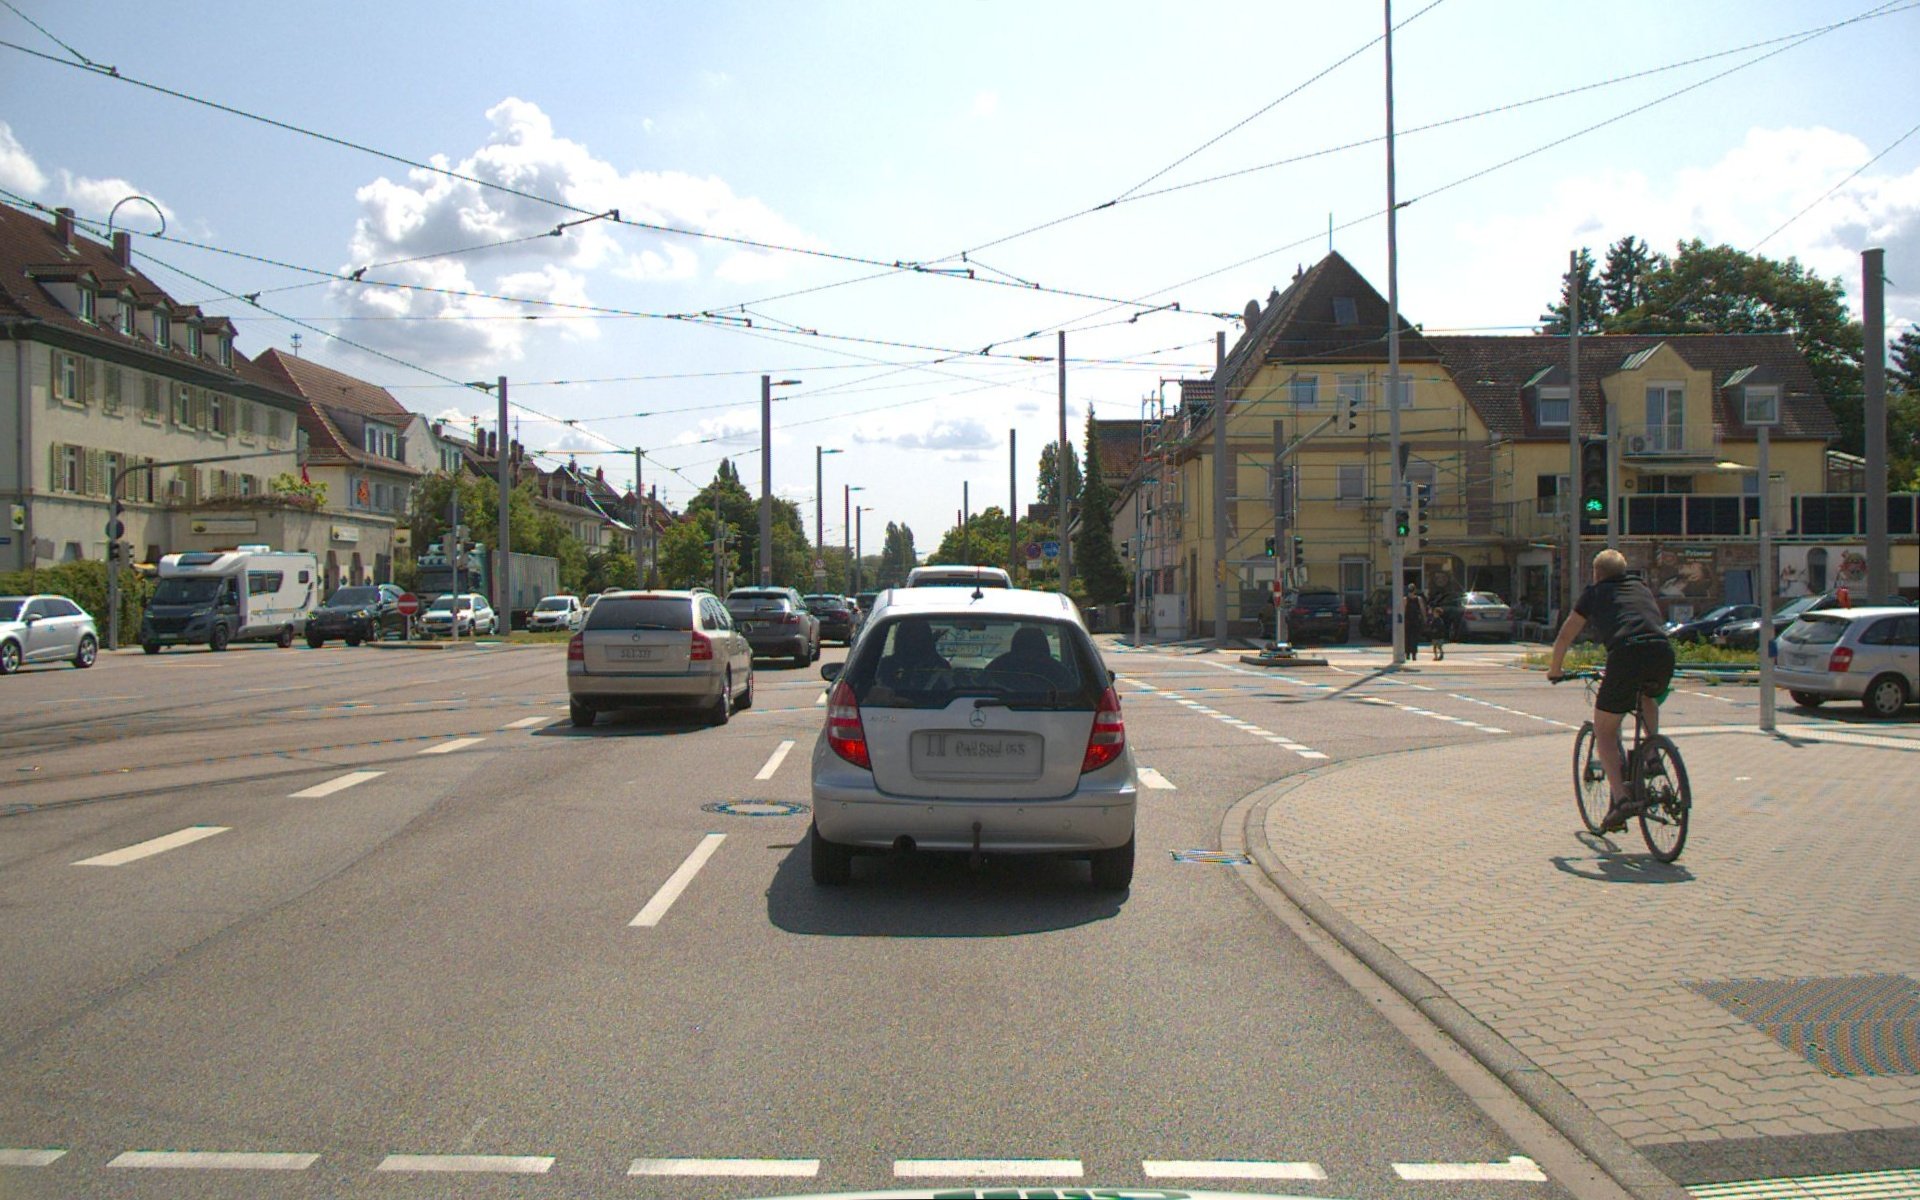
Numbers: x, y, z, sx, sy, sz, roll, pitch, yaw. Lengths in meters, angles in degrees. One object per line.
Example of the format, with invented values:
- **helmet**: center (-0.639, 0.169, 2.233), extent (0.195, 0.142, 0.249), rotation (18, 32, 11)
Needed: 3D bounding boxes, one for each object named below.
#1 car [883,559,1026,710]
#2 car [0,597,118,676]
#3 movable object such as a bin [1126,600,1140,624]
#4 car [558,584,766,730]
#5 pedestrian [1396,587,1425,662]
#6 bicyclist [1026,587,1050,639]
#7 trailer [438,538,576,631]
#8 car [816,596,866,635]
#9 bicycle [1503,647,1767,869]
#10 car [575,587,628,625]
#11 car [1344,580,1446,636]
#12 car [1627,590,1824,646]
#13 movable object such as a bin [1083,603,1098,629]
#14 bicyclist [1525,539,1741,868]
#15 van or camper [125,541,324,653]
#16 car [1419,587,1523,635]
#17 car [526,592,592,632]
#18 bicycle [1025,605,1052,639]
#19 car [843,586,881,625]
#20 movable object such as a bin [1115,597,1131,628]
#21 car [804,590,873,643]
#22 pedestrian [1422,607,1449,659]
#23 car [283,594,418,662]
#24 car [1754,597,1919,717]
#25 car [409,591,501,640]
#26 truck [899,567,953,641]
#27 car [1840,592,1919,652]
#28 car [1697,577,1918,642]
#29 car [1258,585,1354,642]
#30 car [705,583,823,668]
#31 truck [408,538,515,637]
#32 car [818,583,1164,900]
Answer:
- **car**: center (-0.116, 0.435, 22.051), extent (1.695, 1.793, 4.015), rotation (1, 0, -2)
- **car**: center (-17.792, 0.635, 30.937), extent (1.953, 1.375, 4.177), rotation (1, 0, -1)
- **movable object such as a bin**: center (6.950, 0.474, 66.500), extent (0.458, 0.963, 0.558), rotation (-1, -1, -1)
- **car**: center (-3.320, 0.571, 19.157), extent (1.696, 1.474, 4.122), rotation (1, 1, -1)
- **pedestrian**: center (10.150, 0.547, 37.242), extent (0.535, 1.672, 0.401), rotation (1, -1, 4)
- **bicyclist**: center (2.682, 0.440, 56.737), extent (0.638, 1.768, 0.982), rotation (1, -1, -8)
- **trailer**: center (-20.936, -0.762, 77.396), extent (2.545, 3.887, 12.839), rotation (-3, 1, 1)
- **car**: center (-4.594, 0.591, 64.262), extent (1.815, 1.413, 3.916), rotation (1, 0, -3)
- **bicycle**: center (3.975, 0.882, 9.936), extent (0.811, 1.094, 1.972), rotation (-2, 1, 2)
- **car**: center (-18.327, 0.327, 84.716), extent (1.758, 1.847, 4.711), rotation (-1, 0, -1)
- **car**: center (13.234, 0.254, 50.541), extent (1.953, 1.624, 4.130), rotation (1, 0, -1)
- **car**: center (19.428, 0.455, 42.056), extent (4.230, 1.331, 1.738), rotation (1, -1, -4)
- **movable object such as a bin**: center (4.781, 0.578, 60.574), extent (0.501, 0.934, 0.741), rotation (0, -1, -1)
- **bicyclist**: center (3.965, 0.575, 9.830), extent (0.811, 1.825, 1.084), rotation (-2, 0, 1)
- **van or camper**: center (-21.184, -0.101, 48.149), extent (2.276, 2.981, 7.754), rotation (0, 0, 0)
- **car**: center (15.547, 0.327, 50.538), extent (1.829, 1.375, 4.130), rotation (1, 0, -1)
- **car**: center (-17.986, 0.538, 74.355), extent (1.757, 1.665, 4.471), rotation (-1, 0, 1)
- **bicycle**: center (2.682, 0.746, 56.713), extent (0.638, 1.137, 1.585), rotation (1, -1, -8)
- **car**: center (-4.842, 0.282, 82.457), extent (1.815, 1.875, 3.916), rotation (1, 0, -3)
- **movable object such as a bin**: center (5.965, 0.455, 60.707), extent (0.501, 1.124, 0.855), rotation (0, -1, -1)
- **car**: center (-3.424, 0.455, 47.227), extent (1.815, 1.413, 4.511), rotation (1, 0, -3)
- **pedestrian**: center (10.714, 0.742, 37.279), extent (0.478, 1.156, 0.389), rotation (1, -1, -1)
- **car**: center (-17.578, 0.764, 47.991), extent (1.952, 1.807, 4.879), rotation (-2, 0, 1)
- **car**: center (13.229, 0.736, 22.675), extent (3.928, 1.427, 1.733), rotation (-1, 3, -8)
- **car**: center (-18.002, 0.552, 59.158), extent (1.953, 1.579, 4.177), rotation (-4, 0, -1)
- **truck**: center (-1.303, 0.157, 61.810), extent (1.815, 2.597, 5.851), rotation (1, 0, -3)
- **car**: center (25.172, 0.596, 42.534), extent (4.230, 1.499, 1.738), rotation (1, -1, -4)
- **car**: center (19.442, 0.209, 38.023), extent (4.230, 1.352, 1.738), rotation (-1, 0, -4)
- **car**: center (10.386, 0.415, 49.937), extent (1.953, 1.624, 4.130), rotation (1, 0, -1)
- **car**: center (-3.739, 0.468, 32.264), extent (1.878, 1.503, 4.560), rotation (1, 0, -2)
- **truck**: center (-21.064, -0.547, 70.205), extent (2.545, 3.887, 5.669), rotation (-3, 1, 2)
- **car**: center (0.048, 0.719, 10.191), extent (1.695, 1.543, 4.014), rotation (1, 0, -3)
